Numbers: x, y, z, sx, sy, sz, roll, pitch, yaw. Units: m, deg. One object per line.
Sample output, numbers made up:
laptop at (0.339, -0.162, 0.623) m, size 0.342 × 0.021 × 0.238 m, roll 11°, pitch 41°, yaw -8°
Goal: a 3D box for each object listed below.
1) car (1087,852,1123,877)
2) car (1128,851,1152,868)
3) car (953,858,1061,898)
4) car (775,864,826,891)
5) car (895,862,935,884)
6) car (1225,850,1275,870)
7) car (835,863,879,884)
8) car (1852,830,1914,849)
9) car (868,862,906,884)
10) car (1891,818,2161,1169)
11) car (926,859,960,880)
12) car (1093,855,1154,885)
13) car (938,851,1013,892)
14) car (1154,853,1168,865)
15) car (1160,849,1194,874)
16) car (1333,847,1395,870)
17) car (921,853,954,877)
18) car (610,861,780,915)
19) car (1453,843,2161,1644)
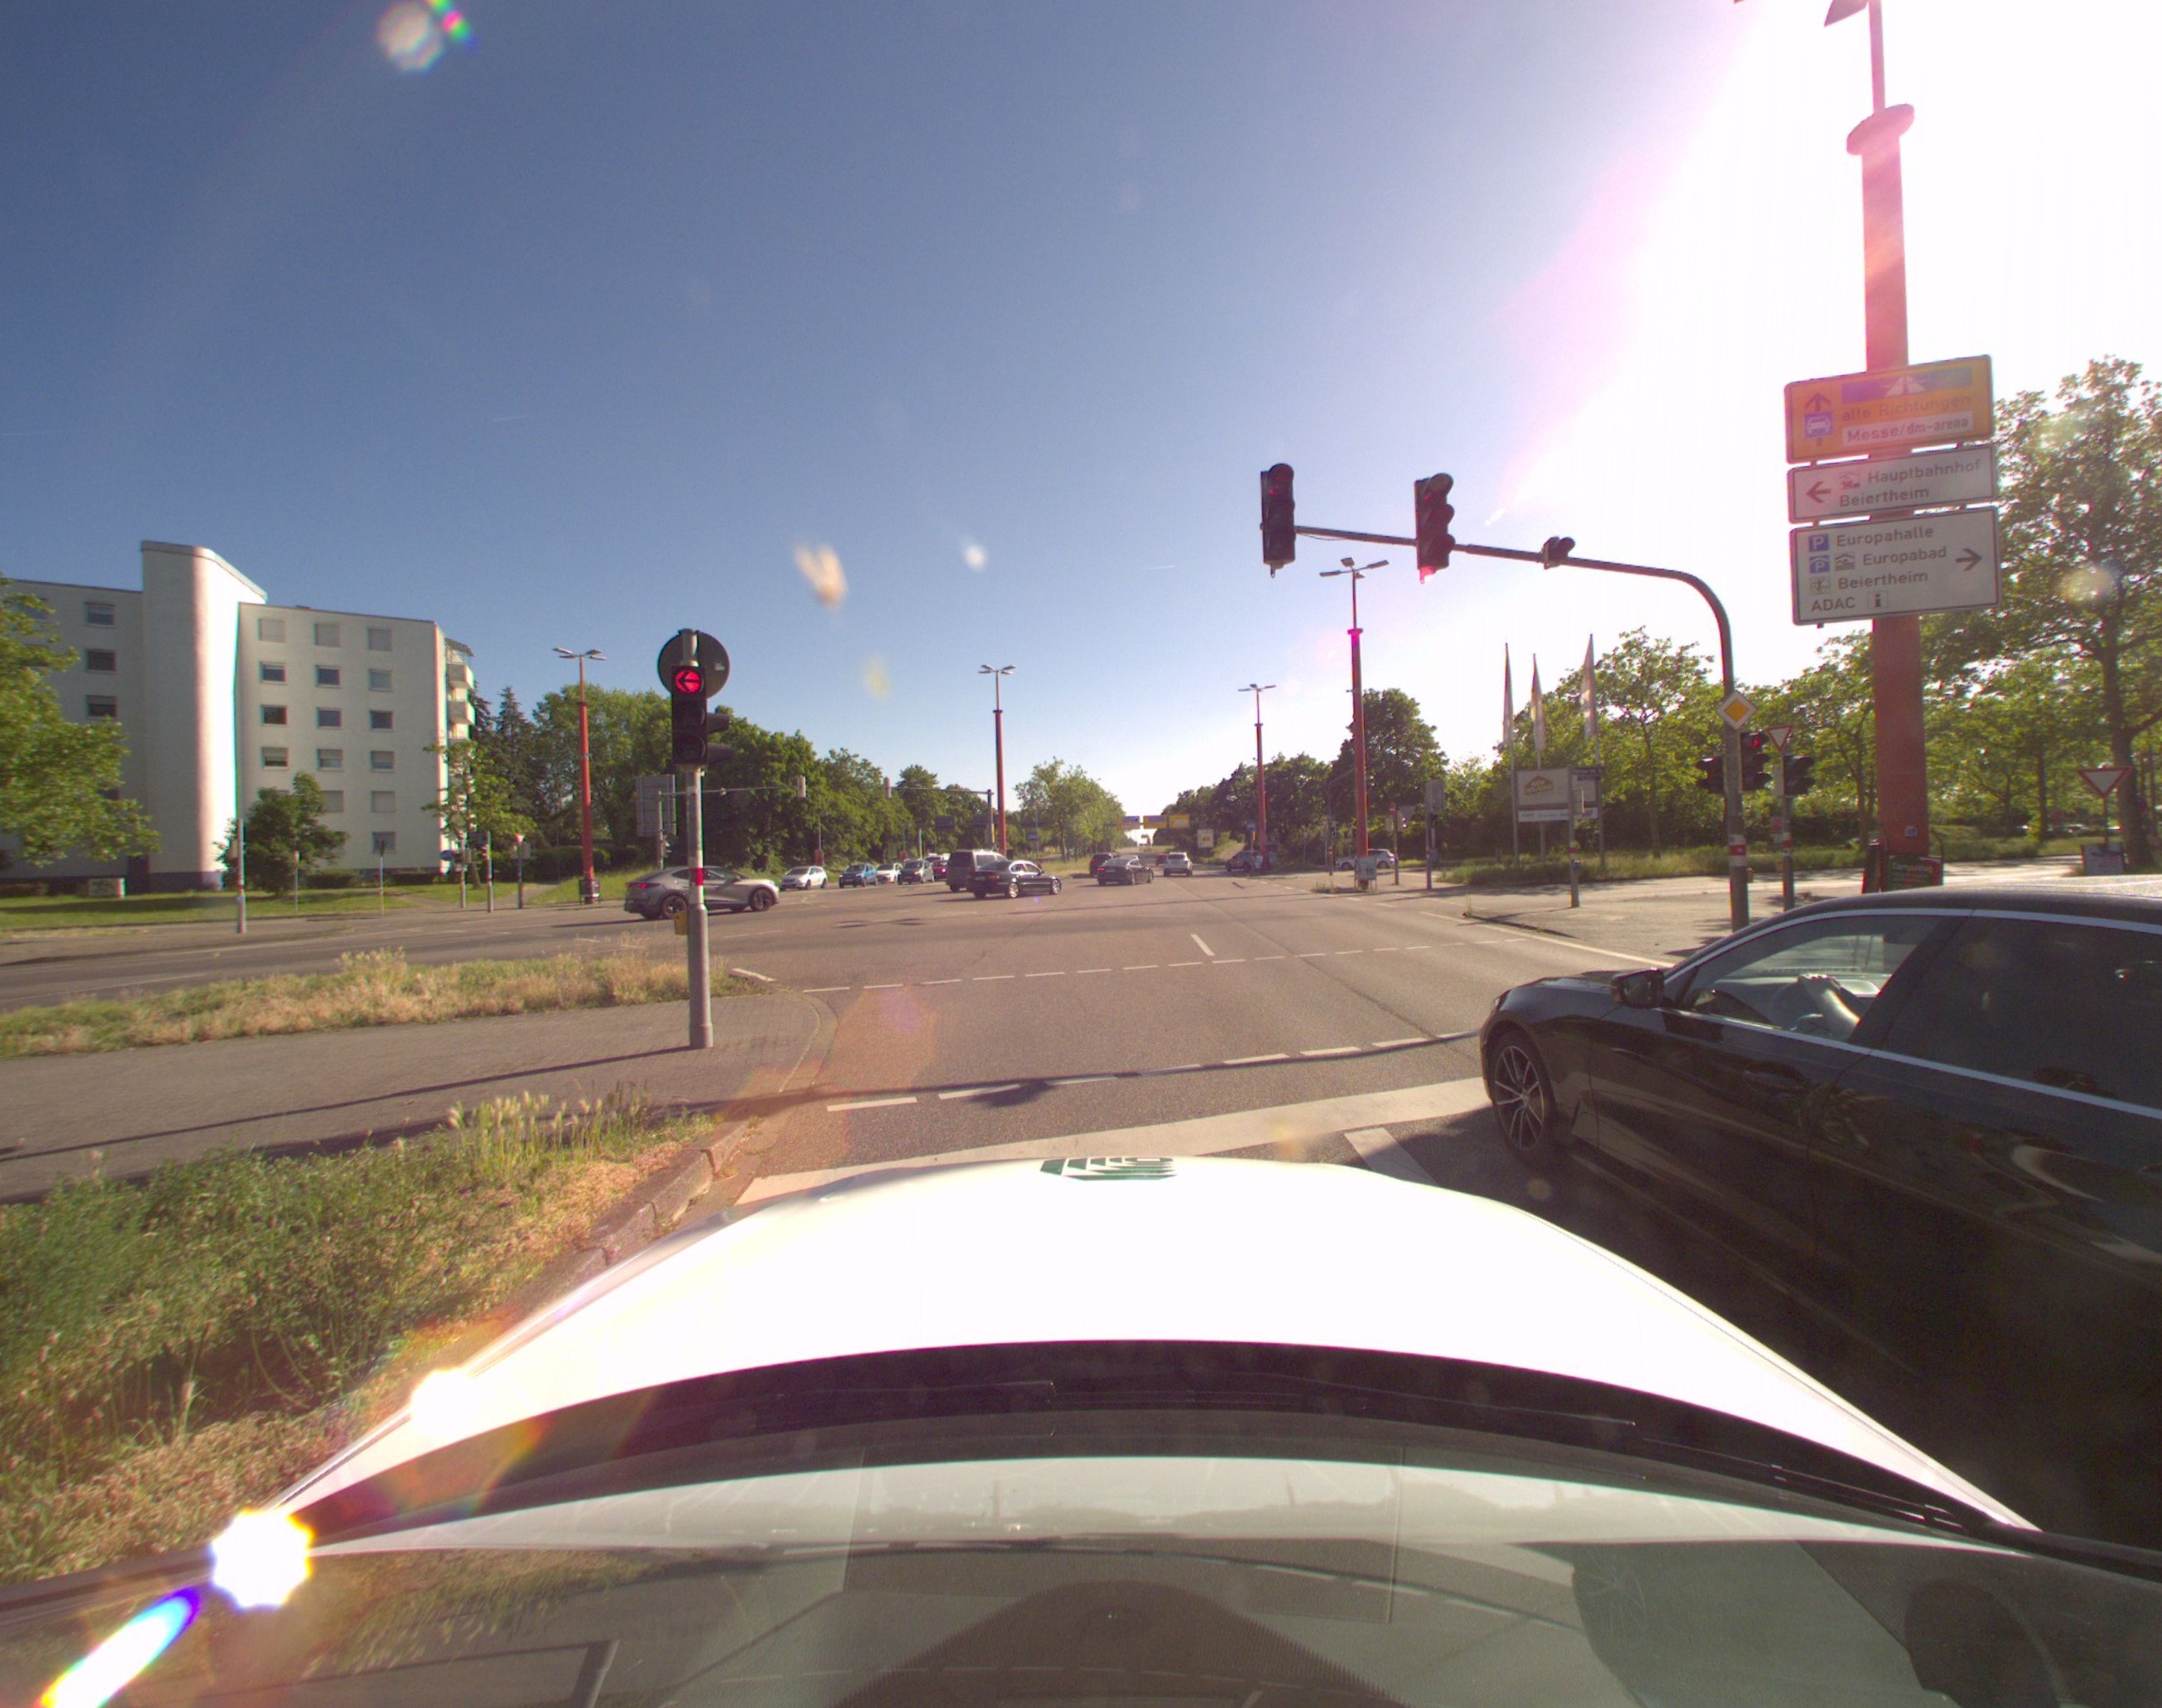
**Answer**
car at (1.656, 0.668, 54.516) m, size 1.841 × 1.545 × 4.273 m, roll -2°, pitch 0°, yaw 9°
car at (5.075, 0.460, 69.627) m, size 1.473 × 1.346 × 4.013 m, roll -1°, pitch -1°, yaw 12°
car at (-2.734, 0.872, 31.005) m, size 1.742 × 1.350 × 4.391 m, roll -2°, pitch 0°, yaw 32°
car at (-17.578, 1.454, 51.190) m, size 1.754 × 1.532 × 3.936 m, roll -2°, pitch 0°, yaw 1°
car at (-10.604, 1.186, 52.304) m, size 1.733 × 1.243 × 3.613 m, roll -2°, pitch 0°, yaw 1°
car at (13.498, 0.515, 65.304) m, size 1.788 × 1.485 × 4.294 m, roll -2°, pitch 0°, yaw -24°
car at (-14.088, 1.209, 51.417) m, size 1.733 × 1.243 × 3.613 m, roll -2°, pitch 0°, yaw 1°
car at (58.377, -1.045, 59.311) m, size 3.443 × 1.207 × 1.613 m, roll -2°, pitch 0°, yaw -13°
car at (-13.672, 1.316, 57.526) m, size 1.733 × 1.411 × 3.613 m, roll -2°, pitch 0°, yaw 1°
car at (5.672, 0.602, 2.860) m, size 1.732 × 1.578 × 4.032 m, roll -2°, pitch 0°, yaw 3°
car at (-9.906, 1.085, 58.664) m, size 1.733 × 1.362 × 3.613 m, roll -2°, pitch 0°, yaw 1°
car at (2.220, 0.794, 41.555) m, size 1.744 × 1.350 × 4.386 m, roll -2°, pitch 0°, yaw 21°
car at (-4.789, 0.751, 37.579) m, size 1.831 × 1.708 × 4.325 m, roll -2°, pitch 0°, yaw 16°
car at (10.263, 0.630, 105.045) m, size 1.672 × 1.435 × 4.070 m, roll -2°, pitch 0°, yaw 5°
car at (6.645, 0.511, 56.052) m, size 1.810 × 1.636 × 4.267 m, roll -2°, pitch 0°, yaw 12°
car at (19.951, 0.325, 57.402) m, size 3.945 × 1.467 × 1.694 m, roll -2°, pitch 0°, yaw 26°
car at (-12.445, 0.968, 71.045) m, size 1.886 × 2.026 × 5.223 m, roll 0°, pitch -1°, yaw 1°
car at (-12.091, 1.025, 25.718) m, size 1.813 × 1.422 × 4.464 m, roll -2°, pitch 0°, yaw 43°
car at (2.914, 0.689, 2.373) m, size 1.861 × 1.398 × 4.448 m, roll -2°, pitch 0°, yaw 4°
